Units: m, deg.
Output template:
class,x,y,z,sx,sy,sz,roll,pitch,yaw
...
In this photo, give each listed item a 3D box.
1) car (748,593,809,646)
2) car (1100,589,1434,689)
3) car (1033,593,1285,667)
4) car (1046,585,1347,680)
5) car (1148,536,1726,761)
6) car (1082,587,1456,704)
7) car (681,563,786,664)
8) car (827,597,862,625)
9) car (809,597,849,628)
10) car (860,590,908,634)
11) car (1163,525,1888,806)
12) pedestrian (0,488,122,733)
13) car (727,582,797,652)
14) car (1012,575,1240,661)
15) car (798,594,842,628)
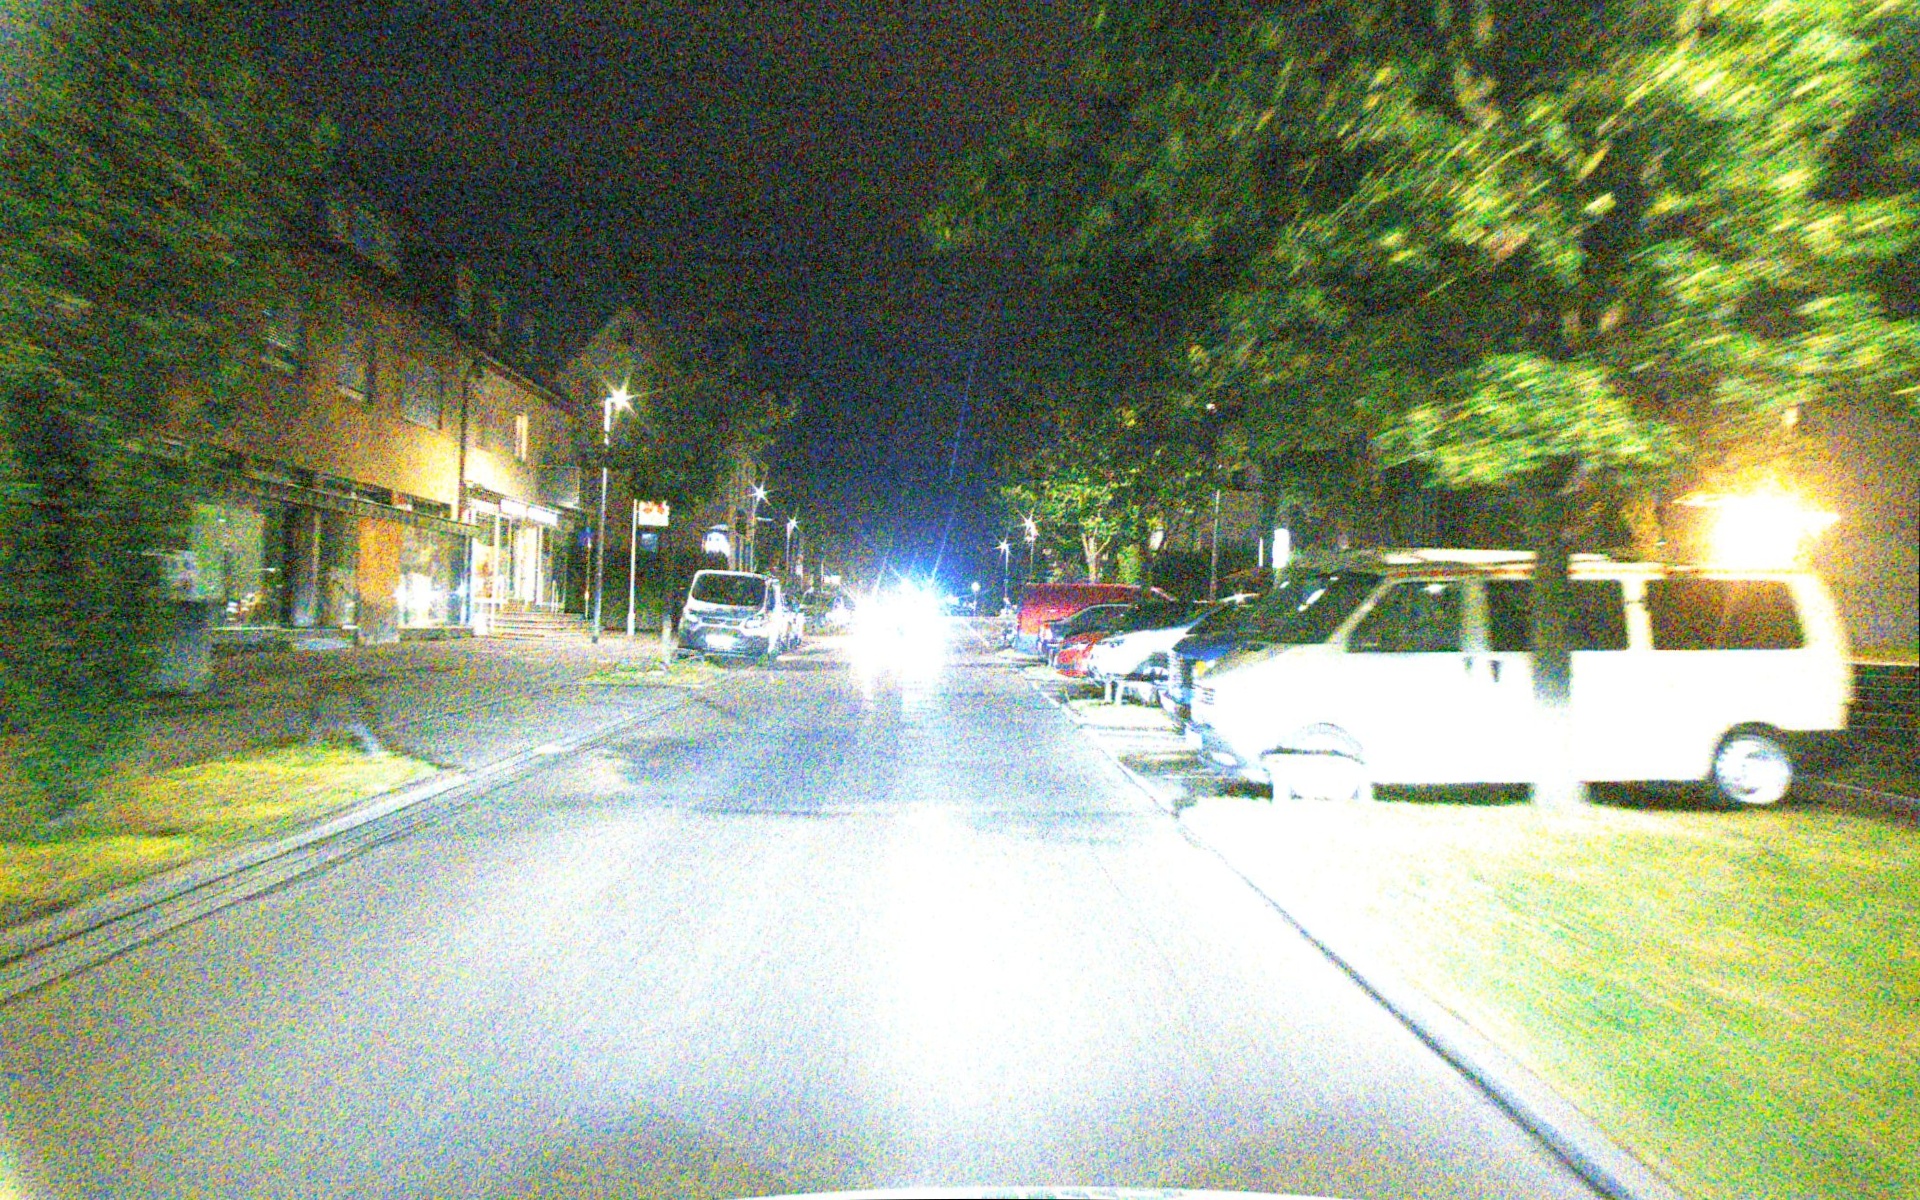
class,x,y,z,sx,sy,sz,roll,pitch,yaw
car,-5.308,0.565,48.628,1.503,1.476,3.118,1,0,-2
car,4.954,0.613,27.218,5.078,1.551,2.101,0,0,-2
car,4.165,0.614,35.271,5.078,1.495,2.101,0,0,-2
car,4.169,0.556,29.756,5.078,1.622,2.101,0,0,-2
car,4.534,0.433,16.291,5.078,2.049,2.101,0,0,-2
car,4.426,0.629,24.268,5.078,1.622,2.101,0,0,-2
car,-4.973,0.277,36.814,1.788,2.021,4.464,3,0,-2
car,-5.905,0.546,85.041,1.649,1.354,3.598,1,0,-2
car,-5.964,0.553,75.402,1.649,1.354,3.598,1,0,-2
car,-3.039,0.459,66.492,1.888,1.677,3.820,0,0,-2
car,4.316,0.469,13.223,5.078,2.049,2.101,0,0,-2
pedestrian,-8.104,0.076,14.551,0.769,2.049,1.204,3,0,-1
car,-5.216,0.436,43.897,1.503,1.717,3.211,3,0,-2
car,3.837,0.399,37.984,5.072,1.920,2.103,0,0,8
car,-5.879,0.465,69.614,1.649,1.354,3.598,1,0,-2
